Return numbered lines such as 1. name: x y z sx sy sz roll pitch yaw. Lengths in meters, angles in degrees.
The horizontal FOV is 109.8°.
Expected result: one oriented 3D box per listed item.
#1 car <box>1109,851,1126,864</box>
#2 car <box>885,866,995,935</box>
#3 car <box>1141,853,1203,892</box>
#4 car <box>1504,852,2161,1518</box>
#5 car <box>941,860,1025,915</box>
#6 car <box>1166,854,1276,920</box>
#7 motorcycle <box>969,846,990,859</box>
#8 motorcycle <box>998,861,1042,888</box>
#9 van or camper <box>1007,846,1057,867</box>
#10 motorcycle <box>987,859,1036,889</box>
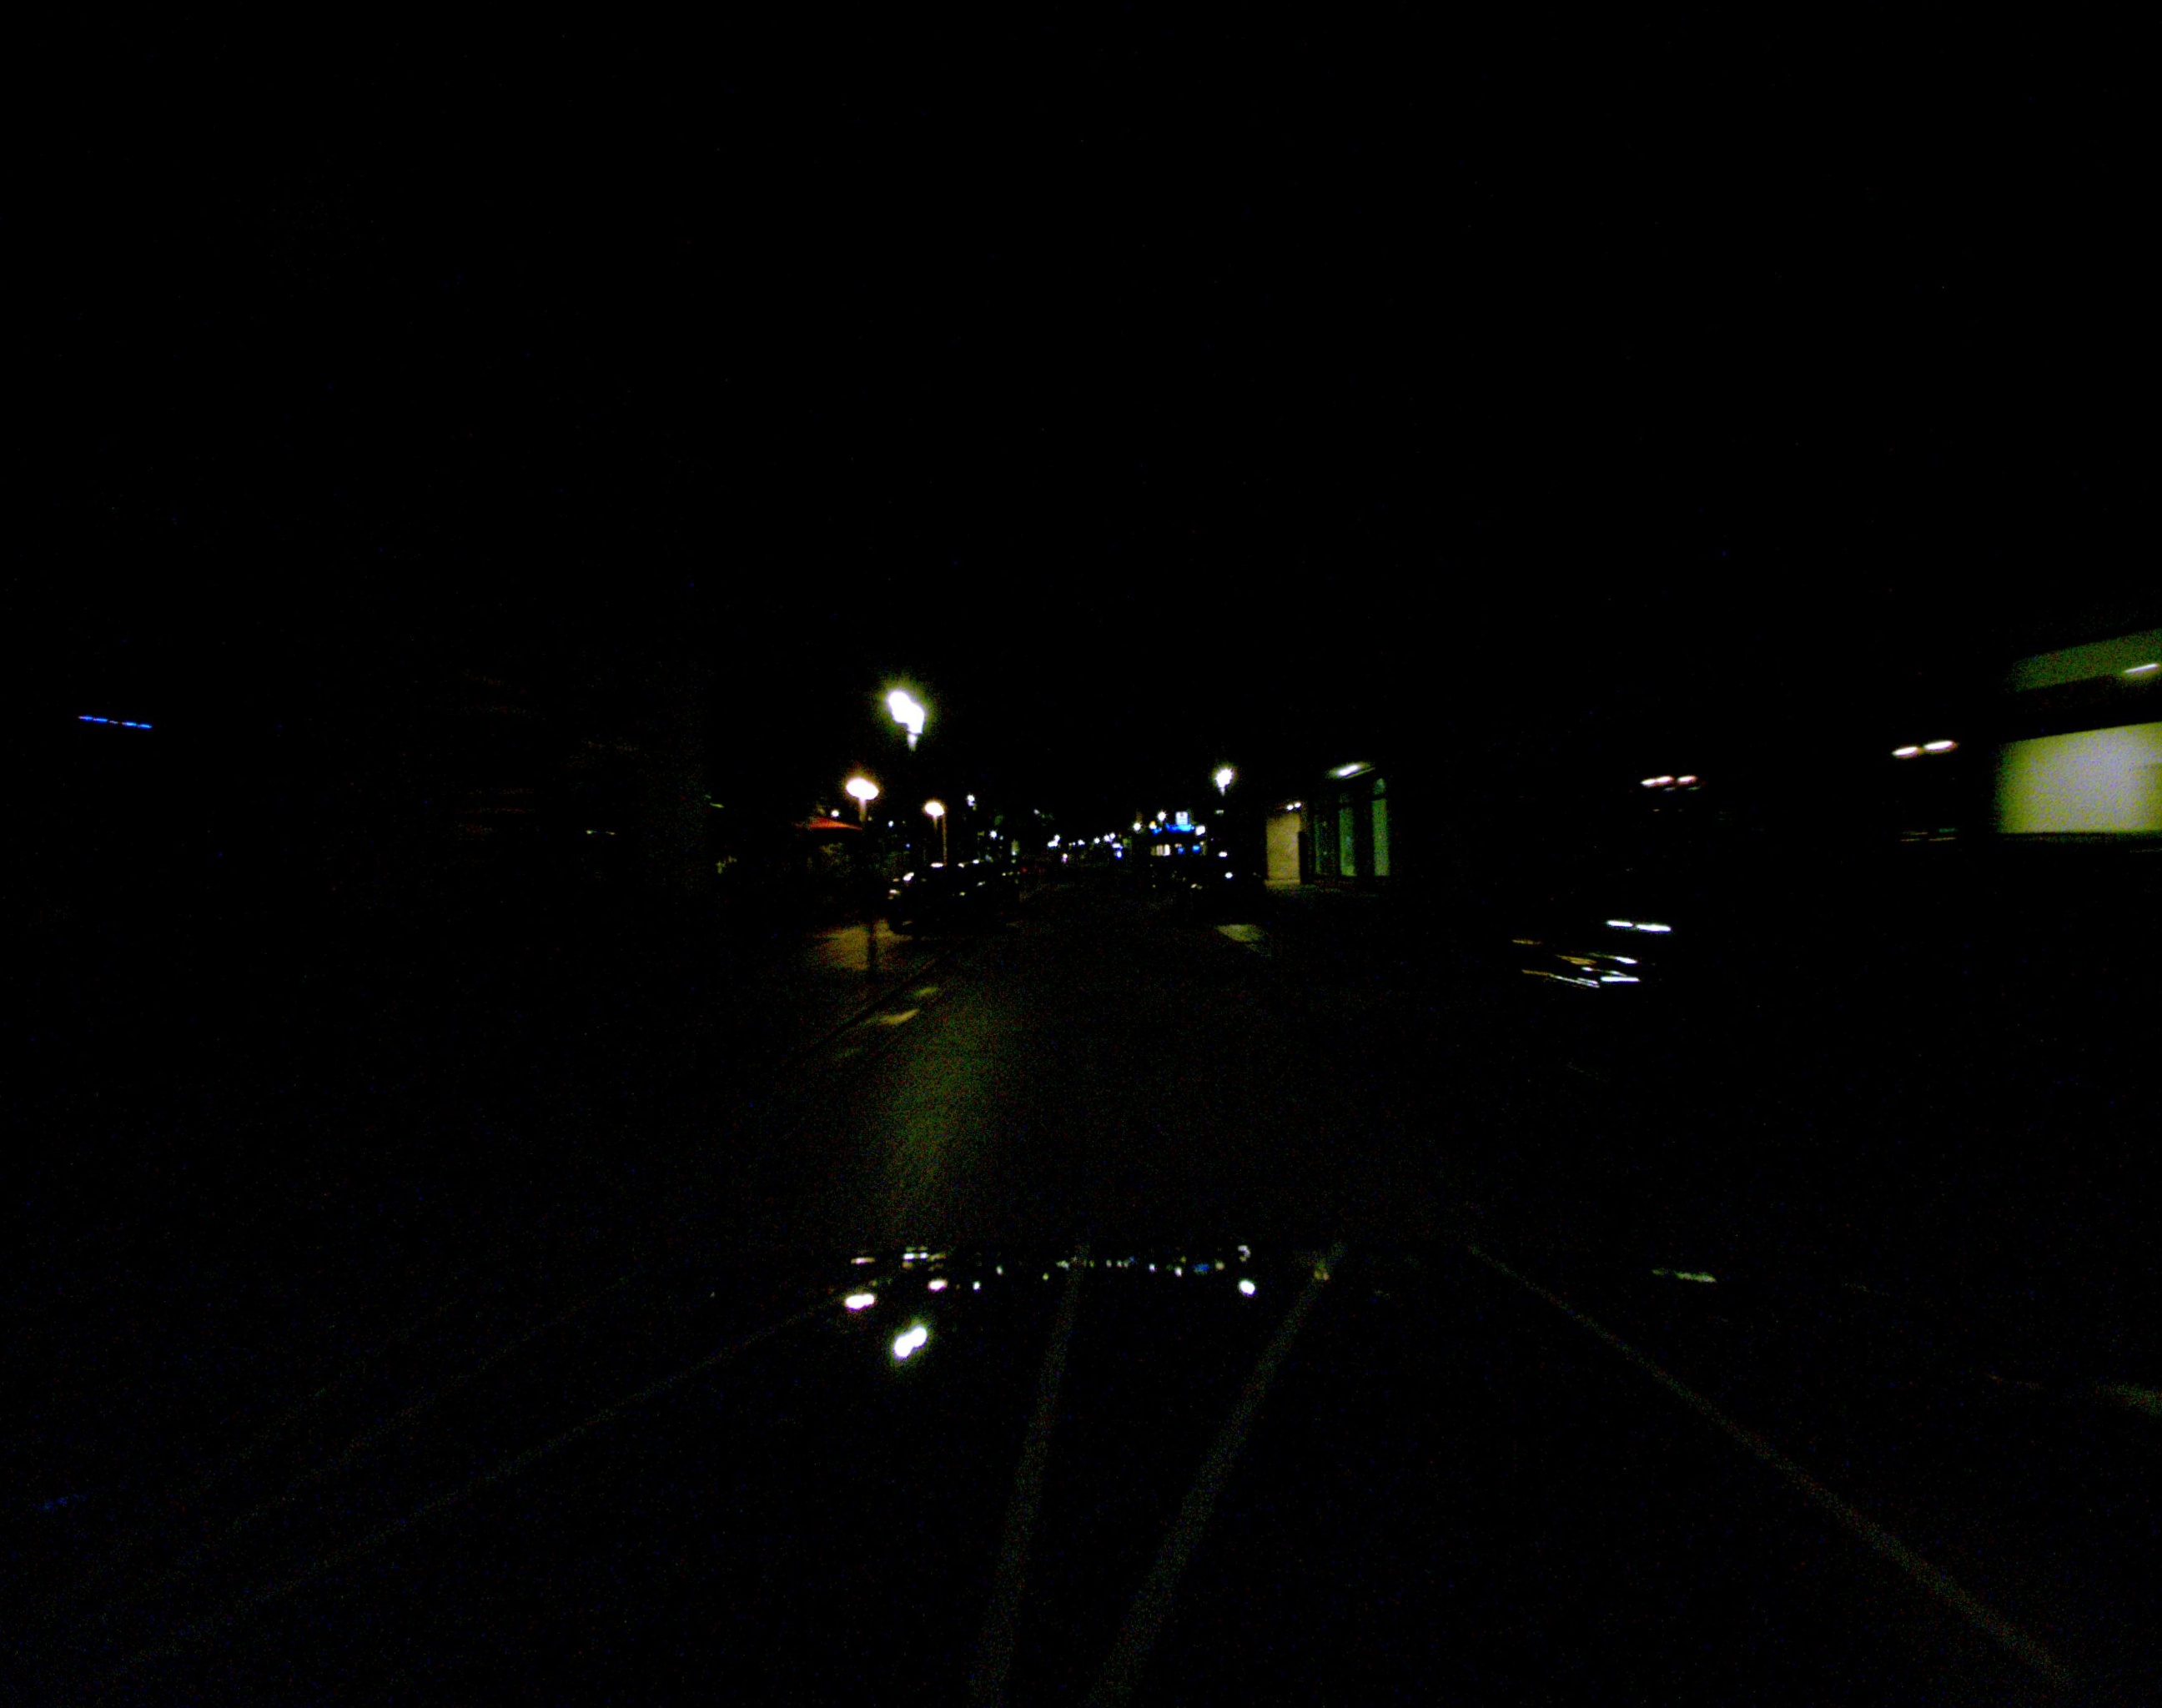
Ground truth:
1. car: 4.379 0.444 91.635 1.655 1.417 4.014 -5 0 -1
2. car: -3.260 1.035 18.354 1.665 1.369 4.104 0 0 4
3. car: 3.775 0.726 32.300 1.905 1.462 4.524 -3 0 -2
4. car: 3.424 0.788 2.298 1.802 1.469 4.321 -4 0 0
5. car: -2.901 0.953 23.485 1.757 1.455 4.467 0 0 4
6. car: 3.605 0.787 20.467 1.850 1.455 4.622 -4 0 -3
7. motorcycle: -10.604 -0.131 79.331 2.226 1.263 0.531 -2 0 -43
8. motorcycle: -3.010 1.008 37.134 2.165 1.290 0.516 -1 1 27
9. van or camper: -6.387 0.366 98.733 6.061 2.518 2.157 -2 0 -31
10. motorcycle: -3.299 0.967 36.224 2.266 1.383 0.662 -1 1 25
